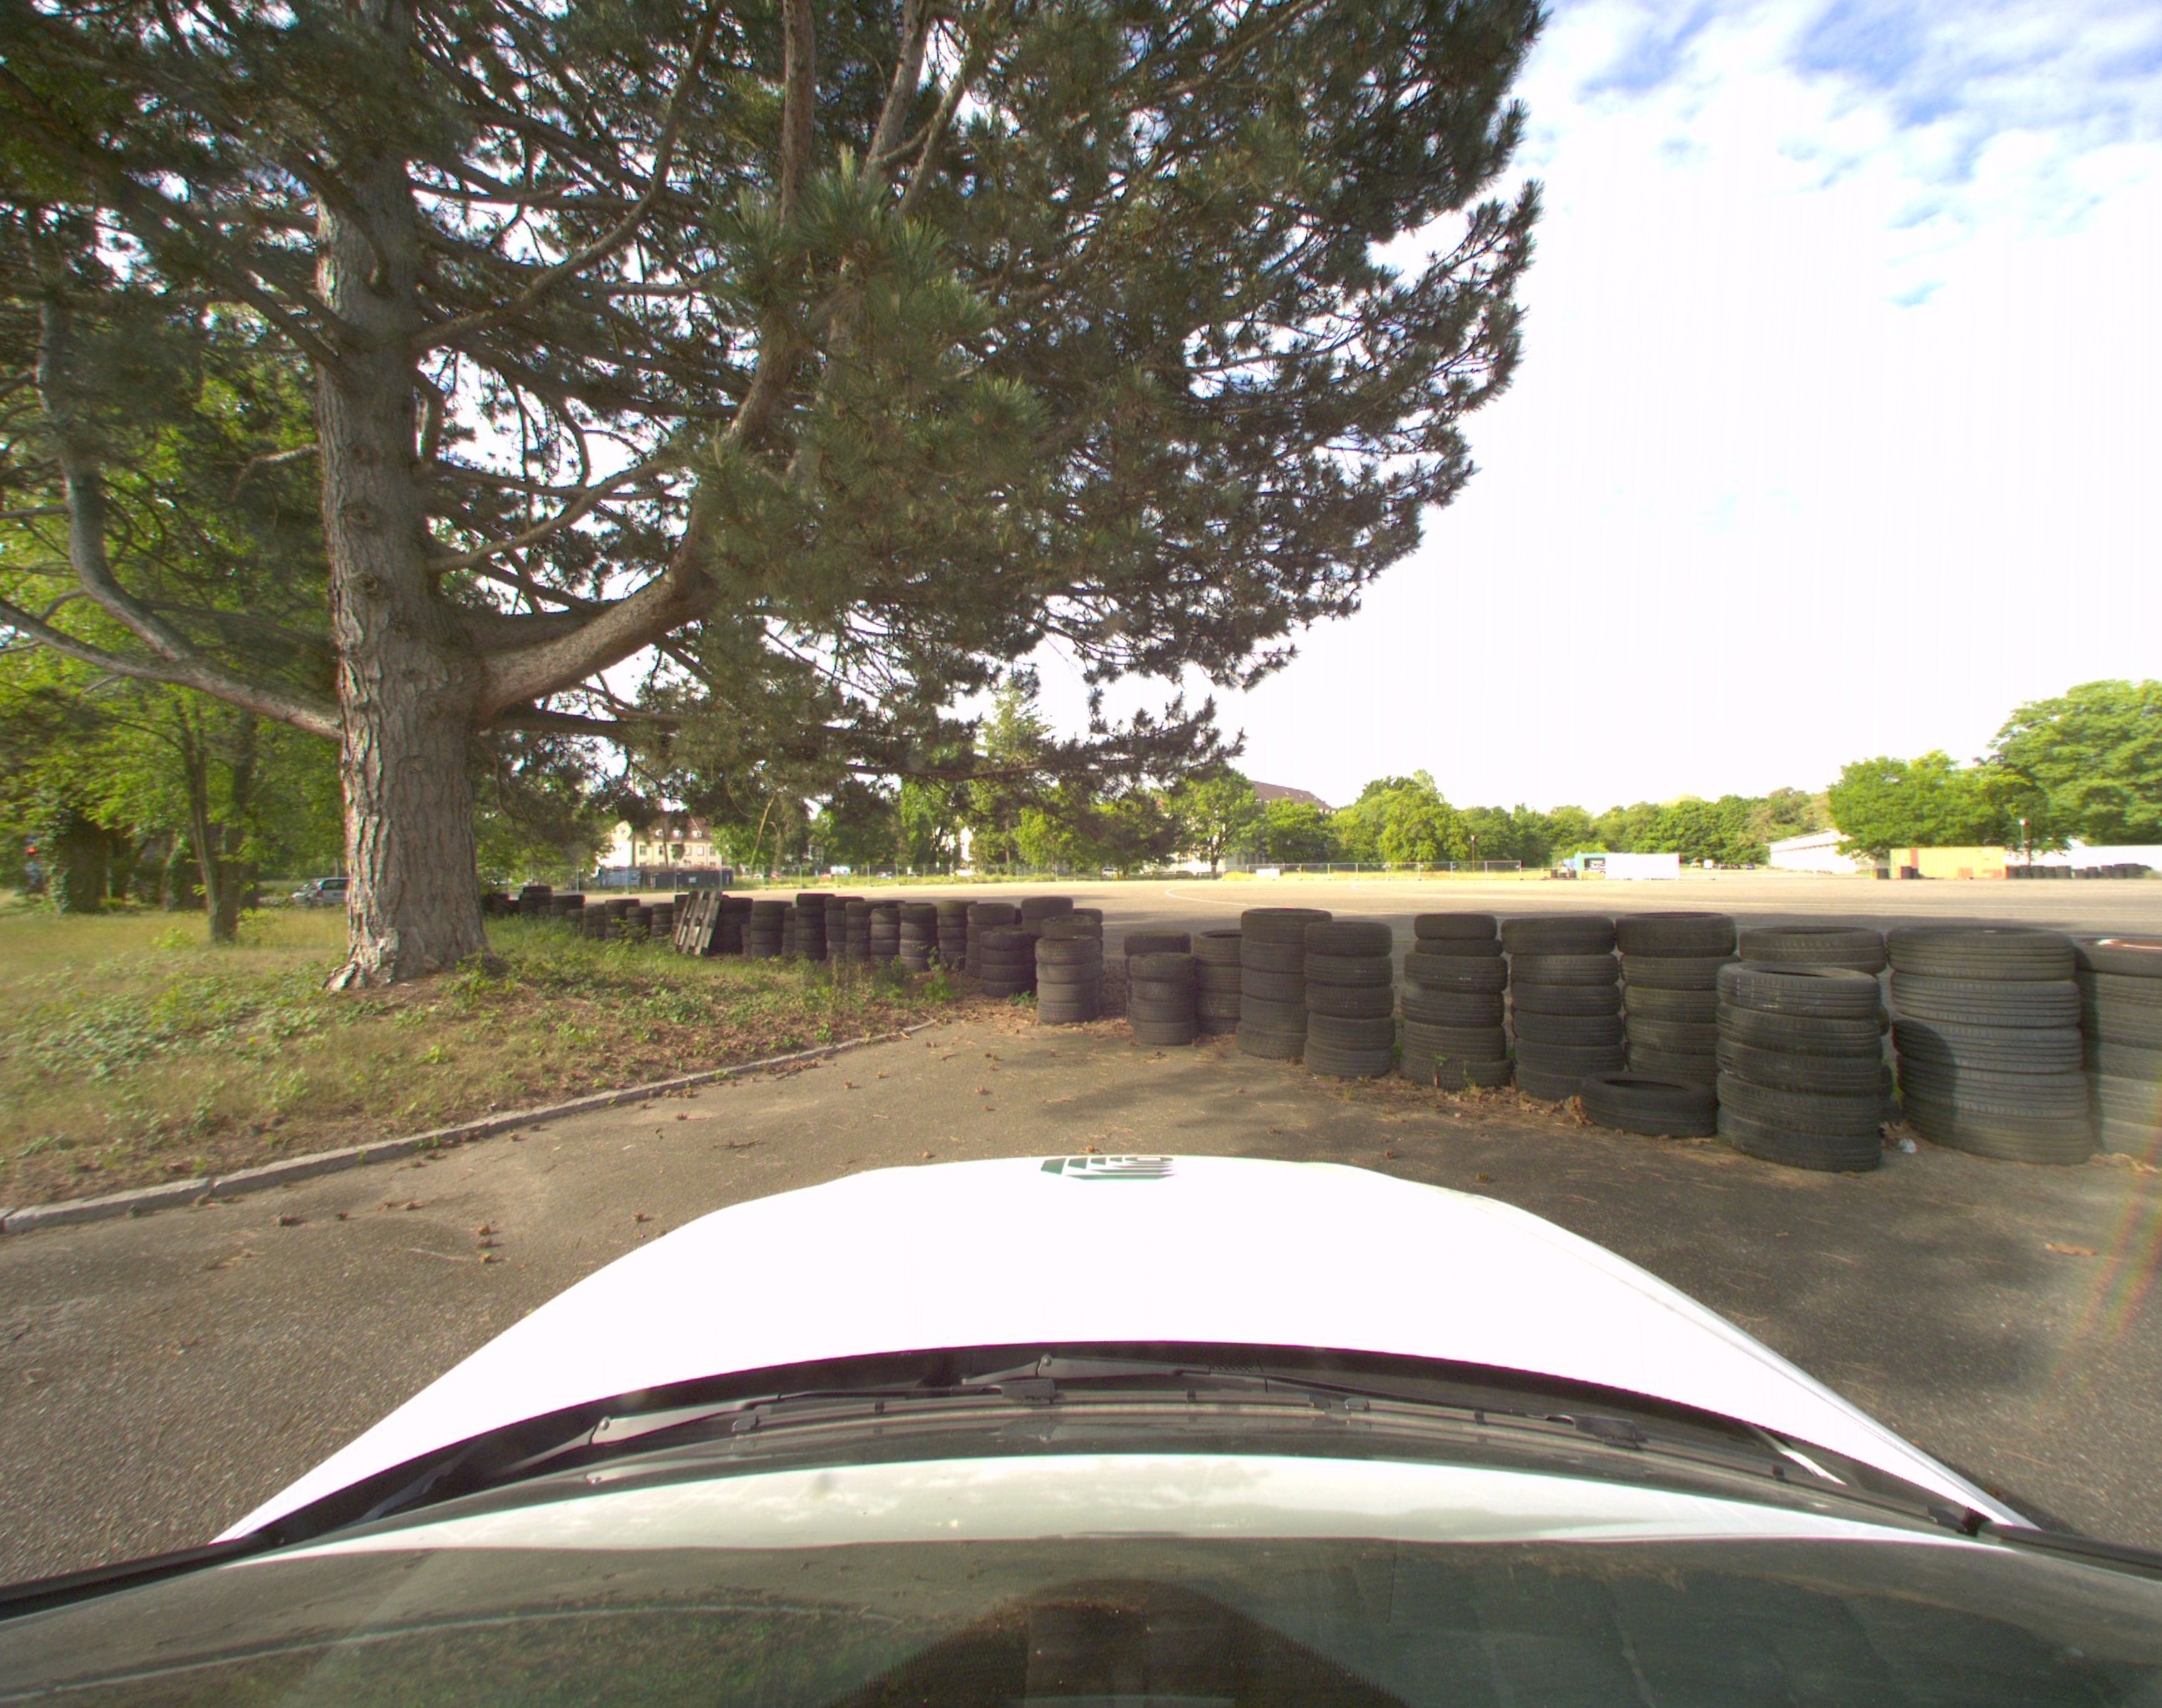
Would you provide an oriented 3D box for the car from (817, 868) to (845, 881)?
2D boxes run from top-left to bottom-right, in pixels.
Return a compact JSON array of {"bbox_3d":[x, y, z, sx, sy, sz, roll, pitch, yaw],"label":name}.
[{"bbox_3d":[-34.313,2.862,111.756,3.949,1.750,2.012,-2,-1,43],"label":"car"}]

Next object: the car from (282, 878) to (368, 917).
[{"bbox_3d":[-32.104,1.800,34.553,3.948,1.541,1.904,-2,-2,35],"label":"car"}]

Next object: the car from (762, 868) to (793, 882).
[{"bbox_3d":[-39.507,2.777,105.914,3.948,1.750,2.012,-2,-1,39],"label":"car"}]

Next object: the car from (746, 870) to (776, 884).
[{"bbox_3d":[-40.738,2.936,103.623,3.949,1.750,2.012,-2,-1,42],"label":"car"}]

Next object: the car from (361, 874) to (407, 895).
[{"bbox_3d":[-55.518,2.438,64.876,3.948,1.618,2.013,-2,-1,37],"label":"car"}]

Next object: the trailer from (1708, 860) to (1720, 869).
[{"bbox_3d":[152.364,2.548,195.998,2.038,2.014,4.025,-1,-1,35],"label":"trailer"}]

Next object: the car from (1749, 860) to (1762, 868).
[{"bbox_3d":[157.631,2.379,190.320,1.974,1.750,4.025,-1,-1,34],"label":"car"}]

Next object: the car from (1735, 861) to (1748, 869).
[{"bbox_3d":[155.604,2.529,191.804,2.011,1.809,4.025,-2,-1,34],"label":"car"}]

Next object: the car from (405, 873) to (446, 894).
[{"bbox_3d":[-54.078,2.443,67.200,3.948,1.618,1.838,-2,-1,39],"label":"car"}]

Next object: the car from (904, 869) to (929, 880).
[{"bbox_3d":[-25.021,3.128,123.953,2.011,1.750,3.951,0,-1,-43],"label":"car"}]
